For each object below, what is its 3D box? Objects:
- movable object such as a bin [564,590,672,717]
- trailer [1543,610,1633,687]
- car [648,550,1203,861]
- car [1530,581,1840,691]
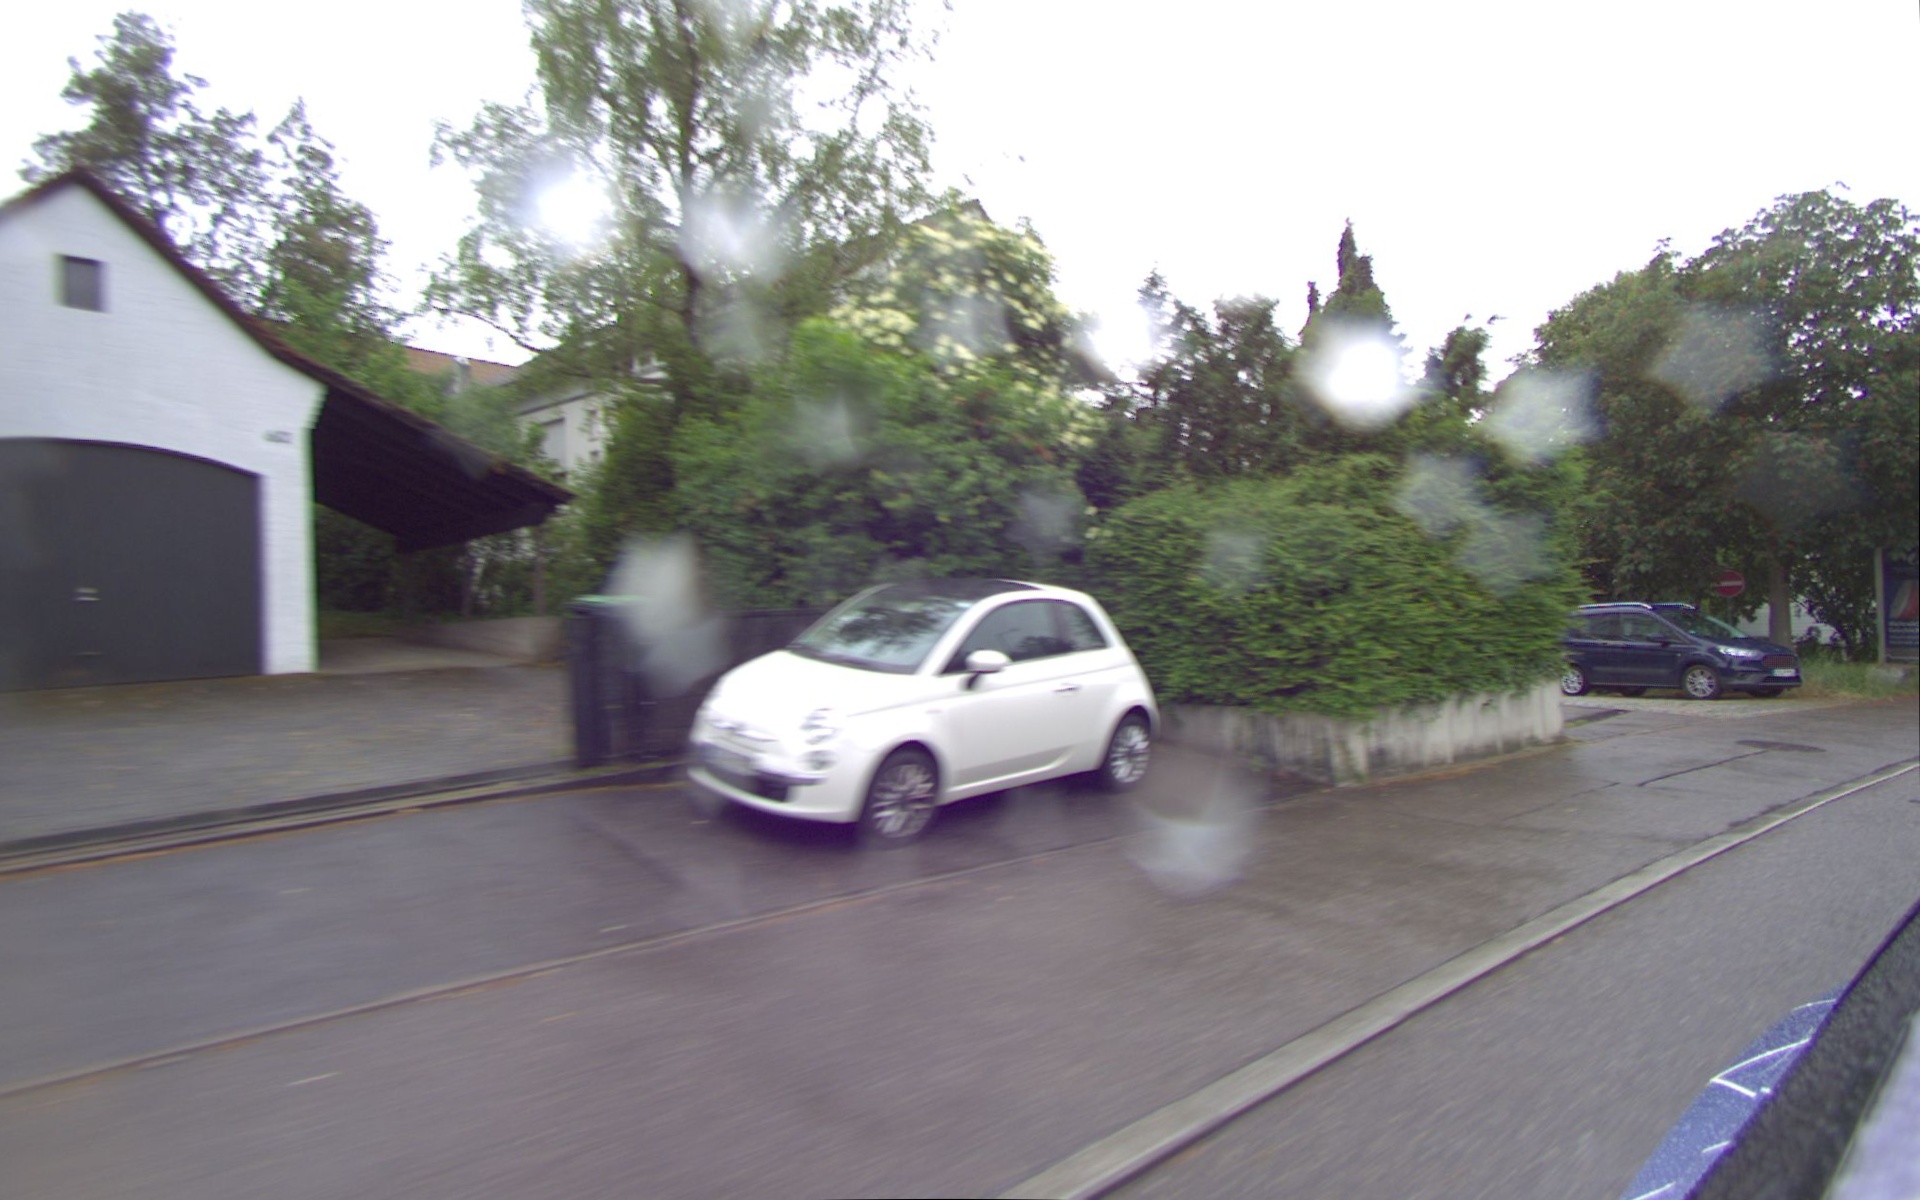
[{"bbox_3d":[-3.014,0.441,8.917,0.689,1.022,0.635,-2,3,-44],"label":"movable object such as a bin"},{"bbox_3d":[16.175,1.265,26.018,1.753,1.847,3.240,-3,-4,35],"label":"trailer"},{"bbox_3d":[-0.031,0.536,7.041,3.782,1.554,1.533,1,2,-45],"label":"car"},{"bbox_3d":[12.970,0.716,18.506,1.692,1.739,4.351,-1,-4,-17],"label":"car"}]
